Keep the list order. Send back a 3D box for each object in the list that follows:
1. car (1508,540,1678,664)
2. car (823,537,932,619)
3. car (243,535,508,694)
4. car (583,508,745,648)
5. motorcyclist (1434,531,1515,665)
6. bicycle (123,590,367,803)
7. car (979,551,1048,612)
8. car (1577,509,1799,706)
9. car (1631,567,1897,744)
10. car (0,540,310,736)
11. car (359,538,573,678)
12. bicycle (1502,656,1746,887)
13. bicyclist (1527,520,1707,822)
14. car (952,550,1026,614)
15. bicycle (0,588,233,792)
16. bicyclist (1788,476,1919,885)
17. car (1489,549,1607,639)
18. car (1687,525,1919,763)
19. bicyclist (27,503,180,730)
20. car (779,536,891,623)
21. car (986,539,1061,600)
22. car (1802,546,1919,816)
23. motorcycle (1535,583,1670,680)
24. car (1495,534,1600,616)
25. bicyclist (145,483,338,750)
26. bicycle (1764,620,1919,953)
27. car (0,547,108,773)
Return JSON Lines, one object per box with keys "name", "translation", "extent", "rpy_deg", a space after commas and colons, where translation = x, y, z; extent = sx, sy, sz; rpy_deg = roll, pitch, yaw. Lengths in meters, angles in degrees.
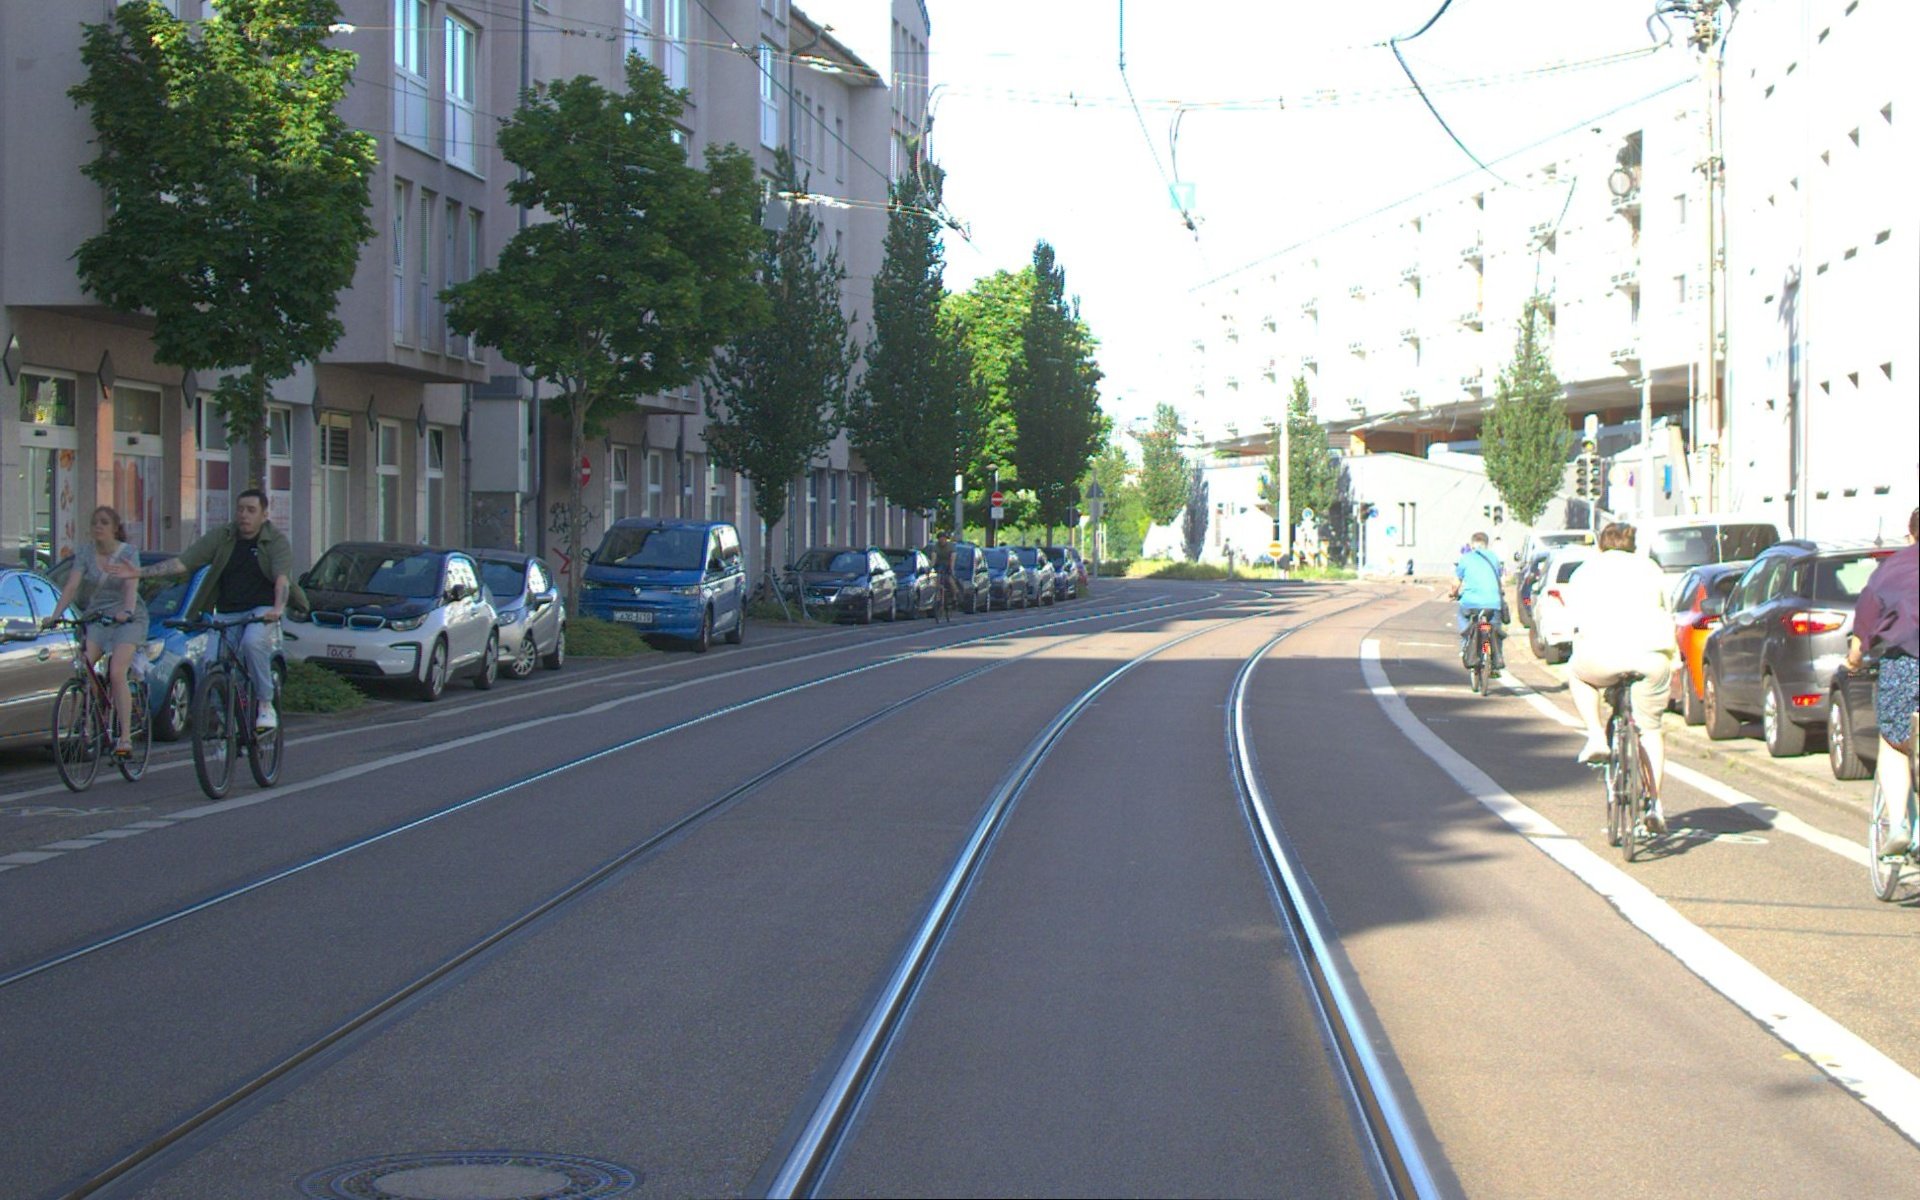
{"name": "car", "translation": [8.846, -0.009, 48.333], "extent": [1.844, 1.640, 4.548], "rpy_deg": [0, 1, 4]}
{"name": "car", "translation": [-1.703, -0.493, 72.061], "extent": [1.844, 1.640, 4.548], "rpy_deg": [0, 1, 4]}
{"name": "car", "translation": [-6.184, 0.109, 36.808], "extent": [1.830, 1.588, 3.999], "rpy_deg": [0, 1, 5]}
{"name": "car", "translation": [-4.353, -0.358, 51.145], "extent": [1.665, 1.980, 4.342], "rpy_deg": [1, 1, 5]}
{"name": "motorcyclist", "translation": [5.463, -0.034, 36.531], "extent": [0.728, 1.401, 1.020], "rpy_deg": [1, 1, 2]}
{"name": "bicycle", "translation": [-4.350, 0.559, 21.092], "extent": [0.839, 1.145, 2.232], "rpy_deg": [-4, 1, 3]}
{"name": "car", "translation": [1.411, -0.504, 89.457], "extent": [1.592, 1.535, 3.190], "rpy_deg": [0, 1, 4]}
{"name": "car", "translation": [7.749, 0.034, 36.921], "extent": [1.787, 1.964, 4.154], "rpy_deg": [-1, 1, 5]}
{"name": "car", "translation": [7.304, 0.462, 31.571], "extent": [1.796, 1.478, 3.778], "rpy_deg": [0, 1, 4]}
{"name": "car", "translation": [-6.871, 0.267, 28.887], "extent": [1.830, 1.484, 4.000], "rpy_deg": [-1, 1, 3]}
{"name": "car", "translation": [-5.926, 0.058, 41.661], "extent": [1.830, 1.588, 4.000], "rpy_deg": [0, 1, 3]}
{"name": "bicycle", "translation": [3.277, 0.812, 17.234], "extent": [0.738, 0.921, 2.836], "rpy_deg": [3, 1, 2]}
{"name": "bicyclist", "translation": [3.266, 0.332, 17.165], "extent": [0.728, 1.457, 1.020], "rpy_deg": [1, 1, 2]}
{"name": "car", "translation": [0.732, -0.454, 84.855], "extent": [1.592, 1.535, 3.190], "rpy_deg": [0, 1, 4]}
{"name": "bicycle", "translation": [-5.370, 0.538, 21.849], "extent": [0.839, 1.145, 2.232], "rpy_deg": [-4, 1, 3]}
{"name": "bicyclist", "translation": [4.079, 0.323, 14.535], "extent": [0.934, 1.670, 0.969], "rpy_deg": [1, 1, 3]}
{"name": "car", "translation": [11.230, -0.139, 65.881], "extent": [1.844, 1.640, 3.964], "rpy_deg": [0, 1, 4]}
{"name": "car", "translation": [6.892, 0.285, 27.129], "extent": [1.660, 1.664, 3.903], "rpy_deg": [-3, 1, 4]}
{"name": "bicyclist", "translation": [-5.435, 0.097, 21.862], "extent": [0.623, 1.376, 0.868], "rpy_deg": [-4, 1, 3]}
{"name": "car", "translation": [-2.382, -0.419, 66.401], "extent": [1.665, 1.612, 3.999], "rpy_deg": [1, 1, 5]}
{"name": "car", "translation": [1.775, -0.864, 95.078], "extent": [1.844, 1.640, 3.697], "rpy_deg": [0, 1, 4]}
{"name": "car", "translation": [6.508, 0.428, 21.888], "extent": [1.592, 1.532, 4.006], "rpy_deg": [-2, 1, 5]}
{"name": "motorcycle", "translation": [7.912, 0.375, 42.421], "extent": [0.490, 1.140, 1.771], "rpy_deg": [0, 1, -36]}
{"name": "car", "translation": [12.990, -0.589, 76.258], "extent": [1.844, 1.750, 4.548], "rpy_deg": [0, 1, 4]}
{"name": "bicyclist", "translation": [-4.376, 0.093, 20.995], "extent": [0.882, 1.556, 0.868], "rpy_deg": [-3, 1, 3]}
{"name": "bicycle", "translation": [4.112, 0.759, 14.611], "extent": [0.821, 1.232, 2.462], "rpy_deg": [4, 1, 2]}
{"name": "car", "translation": [-7.133, 0.375, 22.791], "extent": [1.744, 1.438, 4.000], "rpy_deg": [2, 1, 3]}
